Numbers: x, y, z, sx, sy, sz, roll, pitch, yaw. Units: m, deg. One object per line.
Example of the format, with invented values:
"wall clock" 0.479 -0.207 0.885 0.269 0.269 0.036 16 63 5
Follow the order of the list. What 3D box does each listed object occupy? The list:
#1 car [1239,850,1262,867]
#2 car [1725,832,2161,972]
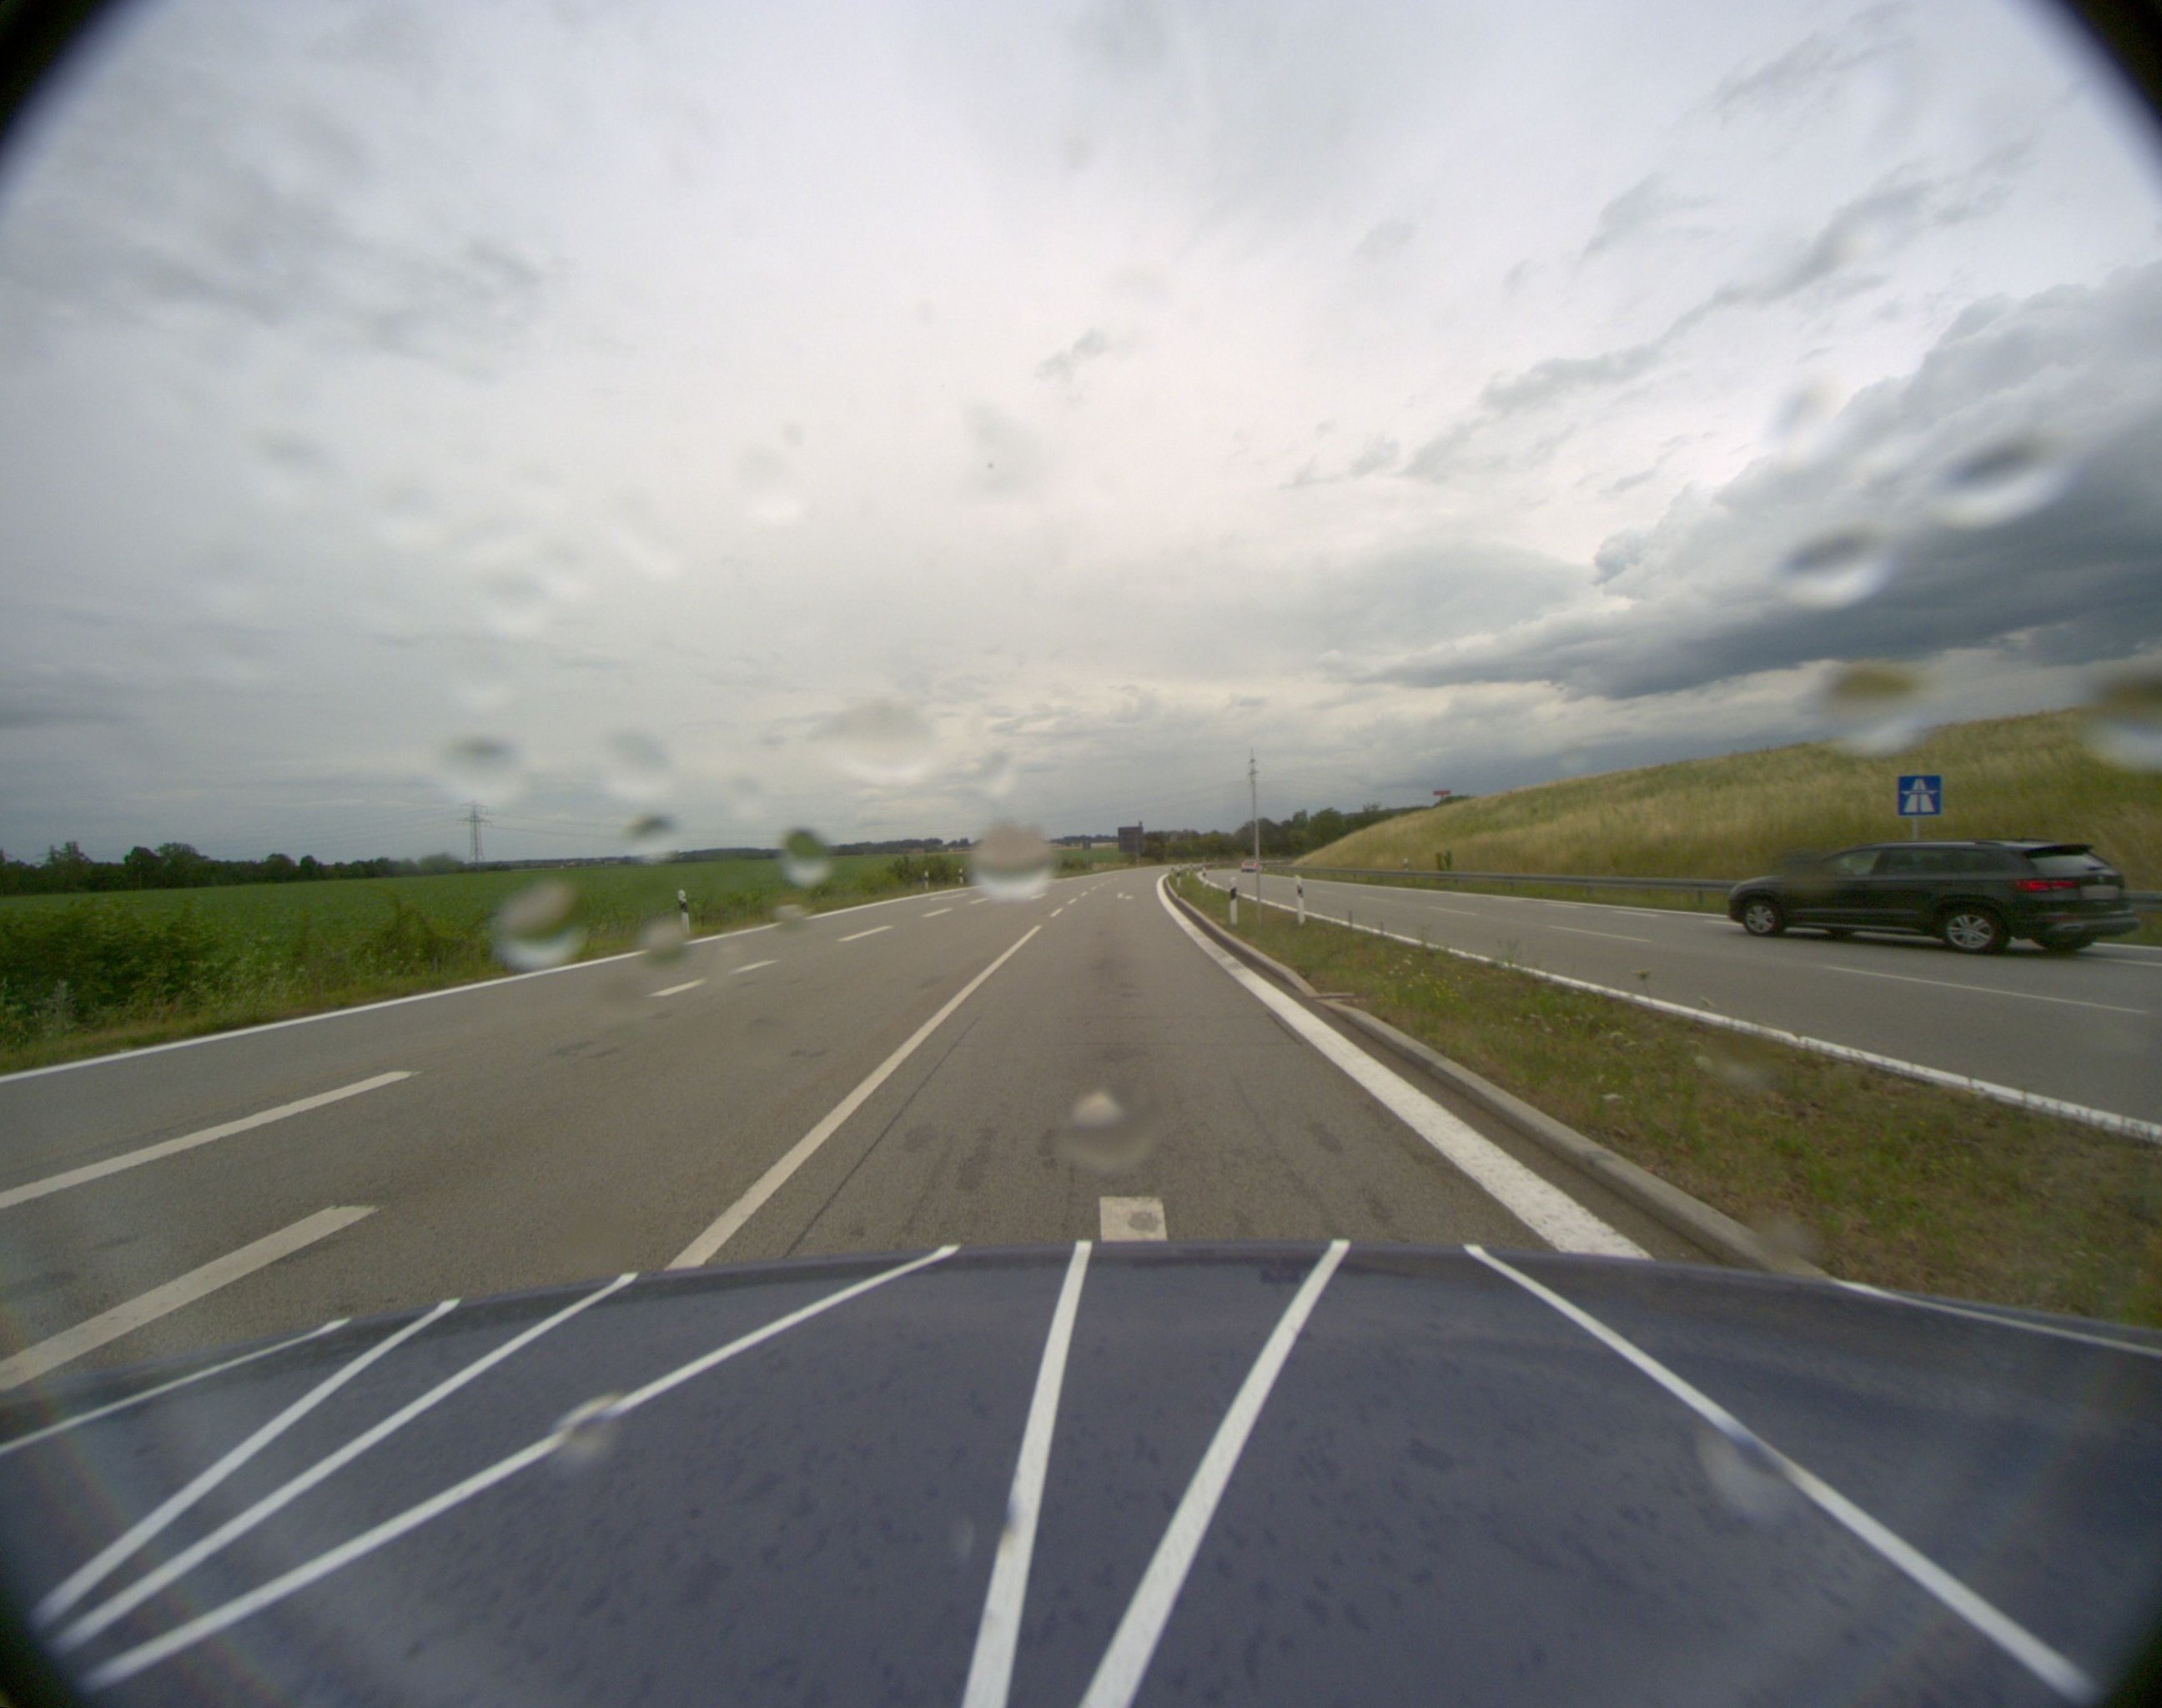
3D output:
"car" 19.096 0.502 85.507 1.996 1.674 4.119 -2 1 19
"car" 12.732 0.575 11.577 2.000 1.674 4.109 -2 1 -10
